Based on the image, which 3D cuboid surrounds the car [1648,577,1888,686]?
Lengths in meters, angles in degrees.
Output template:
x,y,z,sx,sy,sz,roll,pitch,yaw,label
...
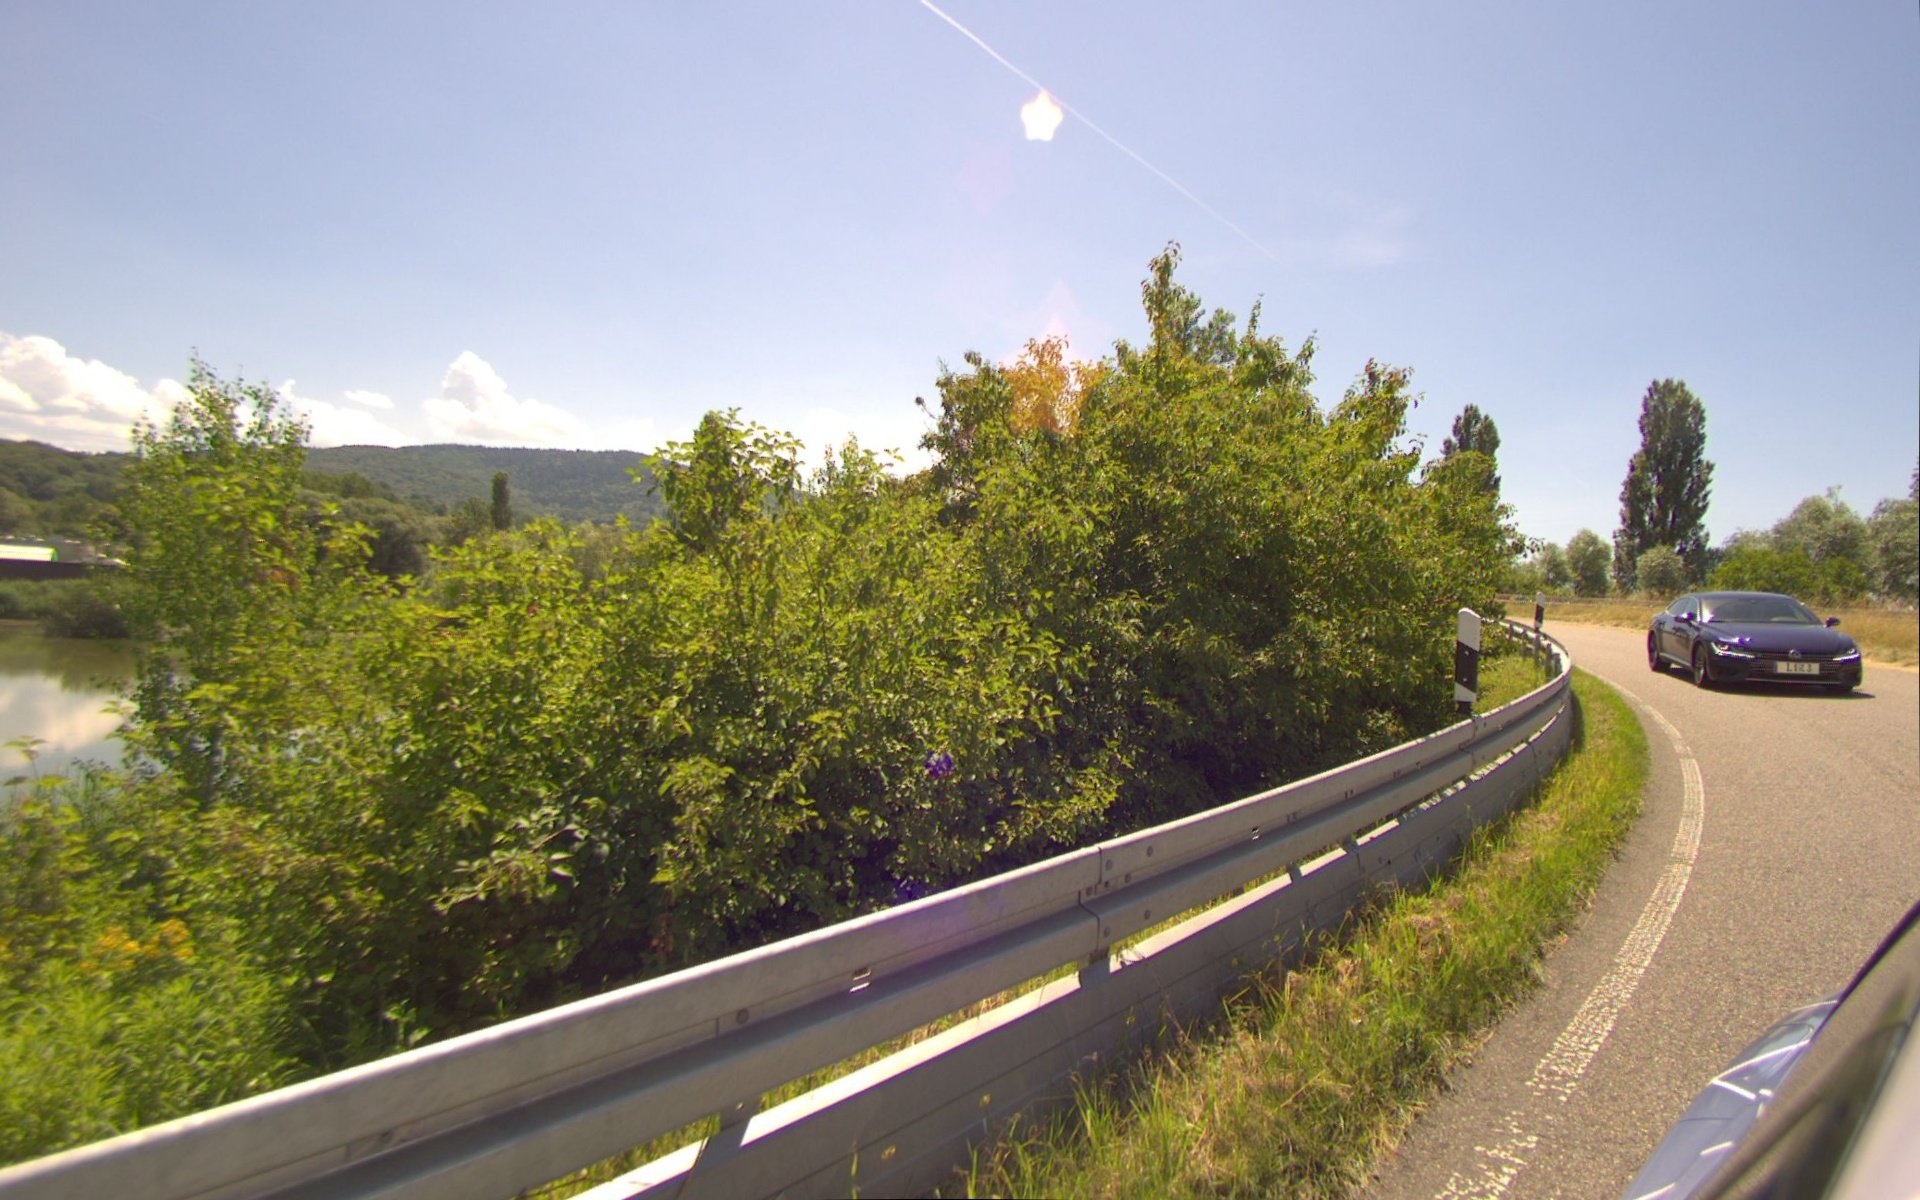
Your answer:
x,y,z,sx,sy,sz,roll,pitch,yaw,label
12.570,0.401,16.111,1.823,1.448,4.498,-1,1,23,car
